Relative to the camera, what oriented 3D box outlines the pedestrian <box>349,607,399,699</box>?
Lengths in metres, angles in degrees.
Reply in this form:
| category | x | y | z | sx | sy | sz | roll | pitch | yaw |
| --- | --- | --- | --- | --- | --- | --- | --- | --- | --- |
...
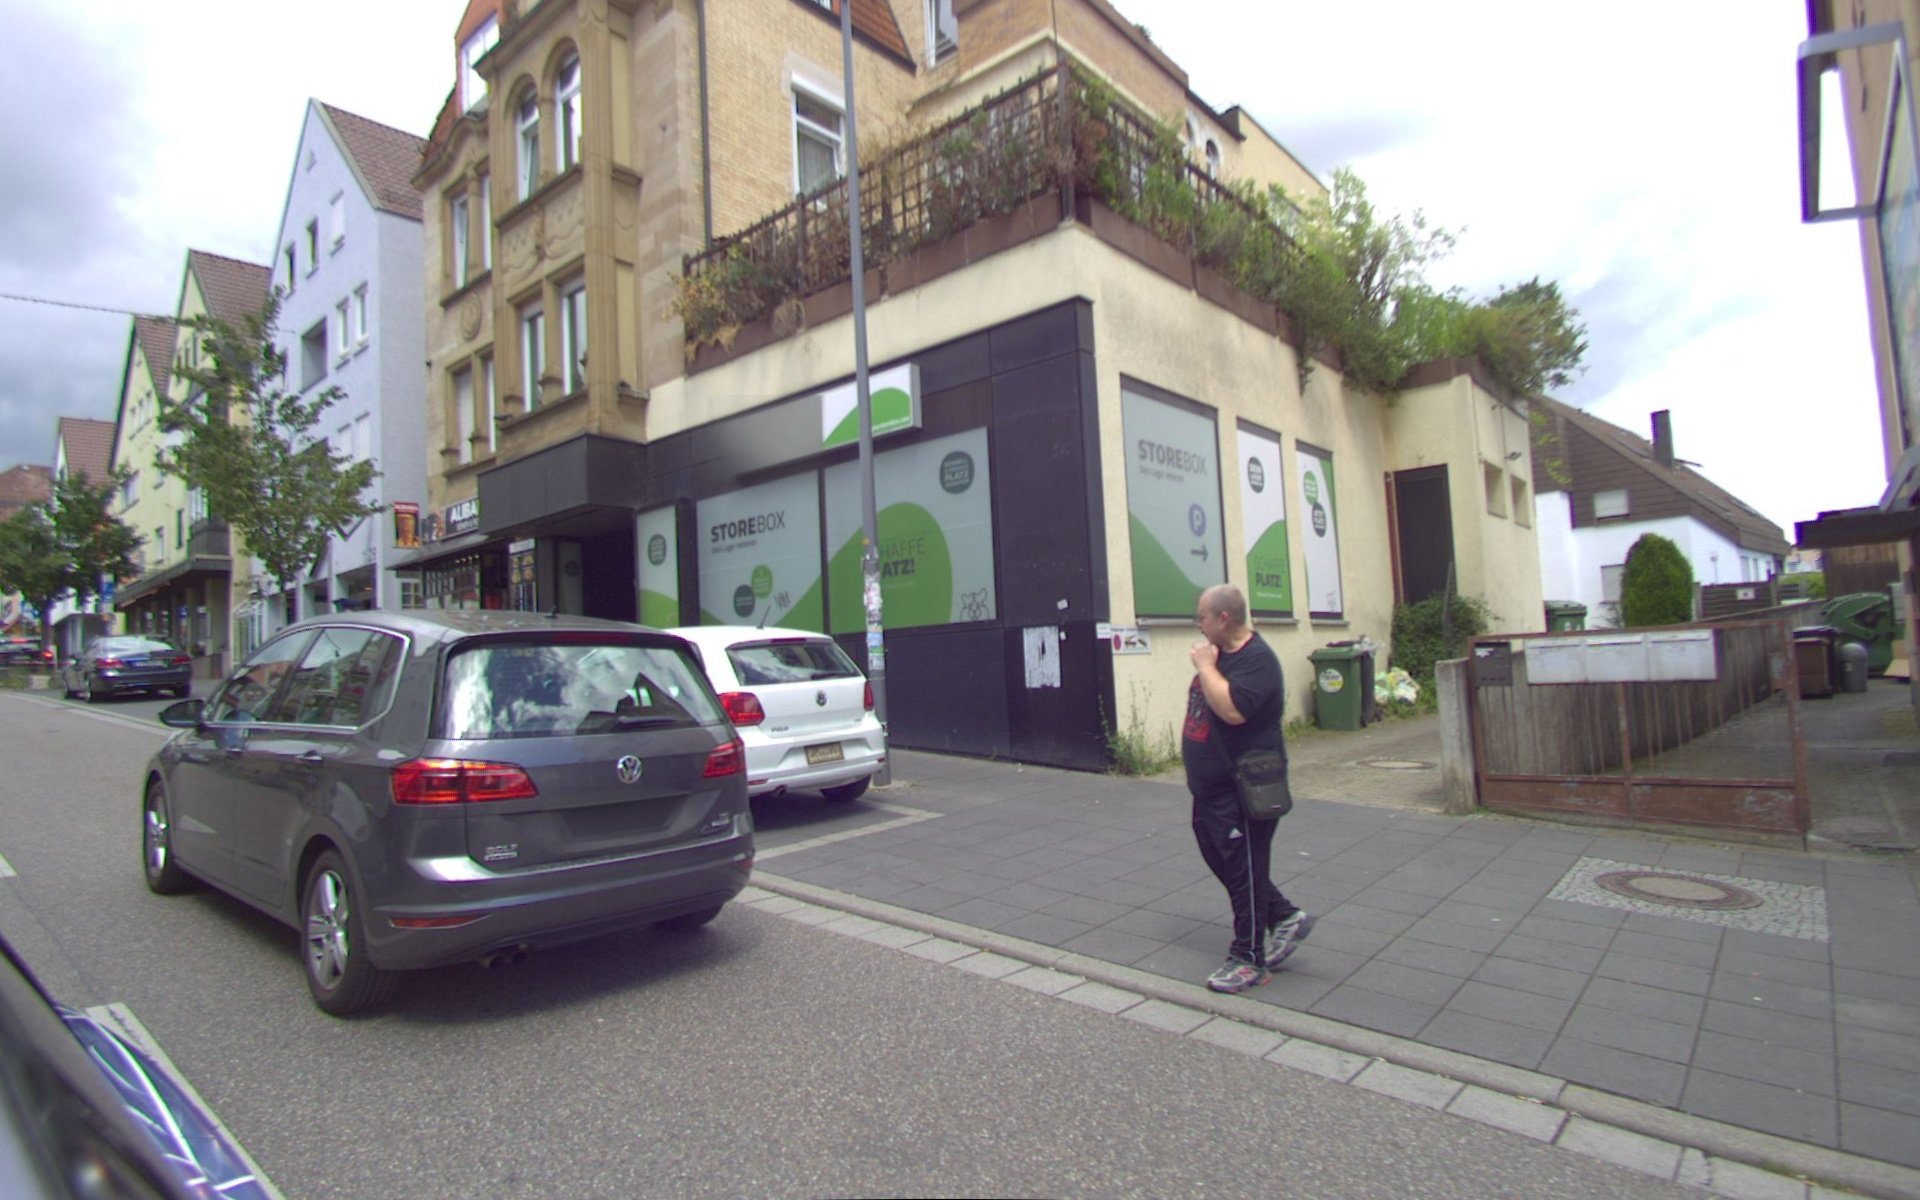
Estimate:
| category | x | y | z | sx | sy | sz | roll | pitch | yaw |
| --- | --- | --- | --- | --- | --- | --- | --- | --- | --- |
| pedestrian | -11.278 | 1.008 | 19.477 | 0.710 | 1.726 | 0.581 | -2 | -1 | 41 |

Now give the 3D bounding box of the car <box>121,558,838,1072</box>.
| category | x | y | z | sx | sy | sz | roll | pitch | yaw |
| --- | --- | --- | --- | --- | --- | --- | --- | --- | --- |
| car | -2.720 | 0.761 | 5.277 | 4.133 | 1.630 | 1.800 | -1 | -4 | 40 |

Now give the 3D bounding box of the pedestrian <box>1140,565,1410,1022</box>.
| category | x | y | z | sx | sy | sz | roll | pitch | yaw |
| --- | --- | --- | --- | --- | --- | --- | --- | --- | --- |
| pedestrian | 1.341 | 0.728 | 4.310 | 0.862 | 1.685 | 0.730 | -2 | -2 | 38 |

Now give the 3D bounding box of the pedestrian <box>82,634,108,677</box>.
| category | x | y | z | sx | sy | sz | roll | pitch | yaw |
| --- | --- | --- | --- | --- | --- | --- | --- | --- | --- |
| pedestrian | -35.847 | 2.282 | 41.928 | 0.835 | 1.752 | 0.630 | -3 | -4 | 39 |

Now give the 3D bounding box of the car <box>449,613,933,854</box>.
| category | x | y | z | sx | sy | sz | roll | pitch | yaw |
| --- | --- | --- | --- | --- | --- | --- | --- | --- | --- |
| car | -2.477 | 0.960 | 8.738 | 4.258 | 1.523 | 1.907 | -3 | -1 | 40 |

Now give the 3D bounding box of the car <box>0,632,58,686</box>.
| category | x | y | z | sx | sy | sz | roll | pitch | yaw |
| --- | --- | --- | --- | --- | --- | --- | --- | --- | --- |
| car | -32.489 | 2.030 | 34.509 | 4.604 | 1.706 | 1.986 | -4 | -2 | 41 |

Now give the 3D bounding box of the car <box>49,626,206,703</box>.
| category | x | y | z | sx | sy | sz | roll | pitch | yaw |
| --- | --- | --- | --- | --- | --- | --- | --- | --- | --- |
| car | -19.263 | 1.453 | 23.334 | 4.838 | 1.504 | 1.907 | -3 | -1 | 40 |

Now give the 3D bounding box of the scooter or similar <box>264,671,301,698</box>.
| category | x | y | z | sx | sy | sz | roll | pitch | yaw |
| --- | --- | --- | --- | --- | --- | --- | --- | --- | --- |
| scooter or similar | -14.434 | 1.790 | 21.565 | 0.572 | 0.523 | 0.519 | -2 | 0 | 40 |

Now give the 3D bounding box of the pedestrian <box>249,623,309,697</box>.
| category | x | y | z | sx | sy | sz | roll | pitch | yaw |
| --- | --- | --- | --- | --- | --- | --- | --- | --- | --- |
| pedestrian | -14.218 | 1.236 | 21.134 | 0.809 | 1.474 | 0.817 | -2 | 0 | 40 |
